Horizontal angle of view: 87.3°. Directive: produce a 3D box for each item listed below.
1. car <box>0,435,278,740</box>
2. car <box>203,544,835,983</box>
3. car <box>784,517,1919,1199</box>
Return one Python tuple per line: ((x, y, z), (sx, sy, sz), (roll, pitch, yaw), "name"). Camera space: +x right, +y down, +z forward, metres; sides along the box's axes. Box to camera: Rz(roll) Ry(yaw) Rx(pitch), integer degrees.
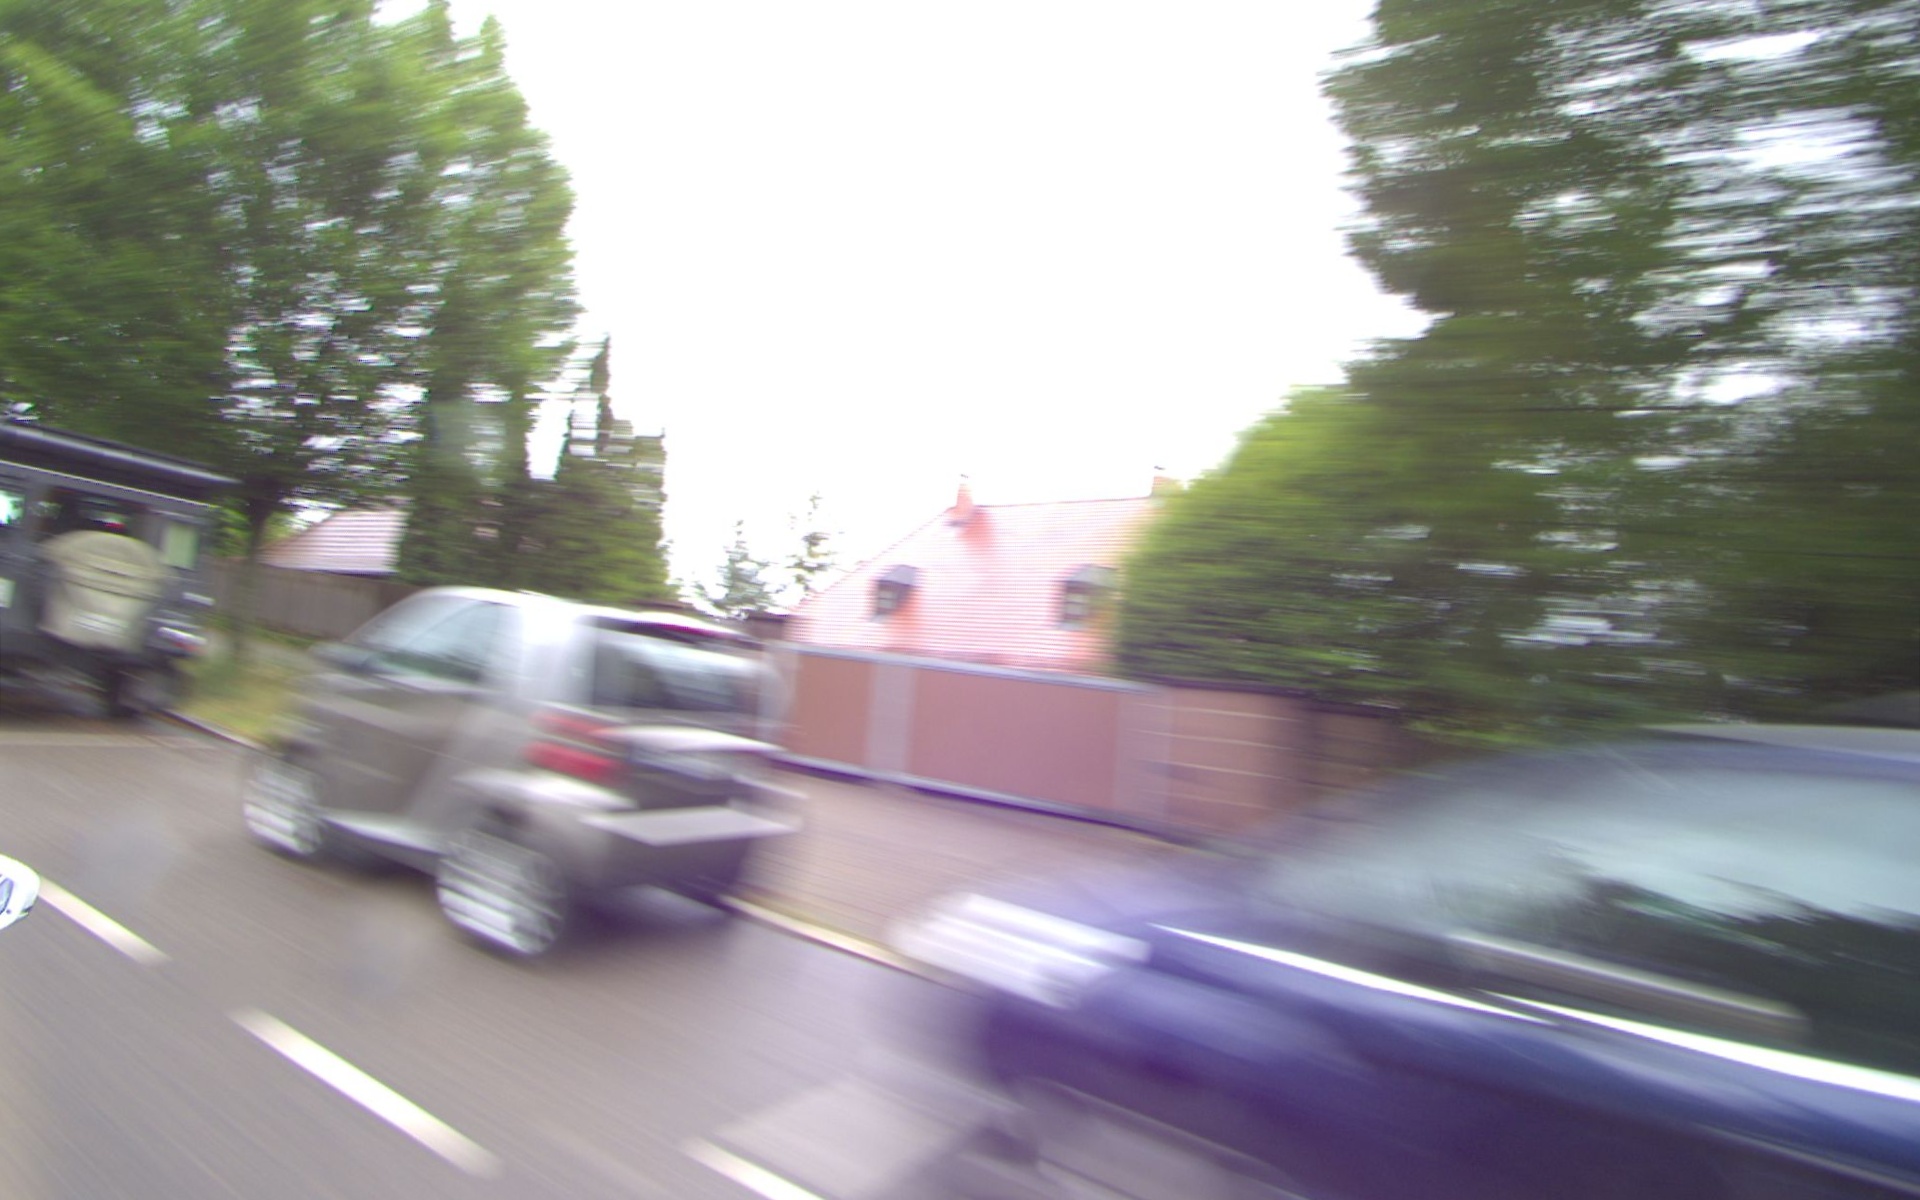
((-8.538, -0.243, 8.801), (5.034, 2.073, 2.001), (7, -4, 30), "car")
((-2.416, 0.713, 5.493), (2.905, 1.575, 1.601), (7, -3, 31), "car")
((2.071, 1.021, 2.322), (4.599, 1.802, 1.786), (7, -3, 30), "car")
